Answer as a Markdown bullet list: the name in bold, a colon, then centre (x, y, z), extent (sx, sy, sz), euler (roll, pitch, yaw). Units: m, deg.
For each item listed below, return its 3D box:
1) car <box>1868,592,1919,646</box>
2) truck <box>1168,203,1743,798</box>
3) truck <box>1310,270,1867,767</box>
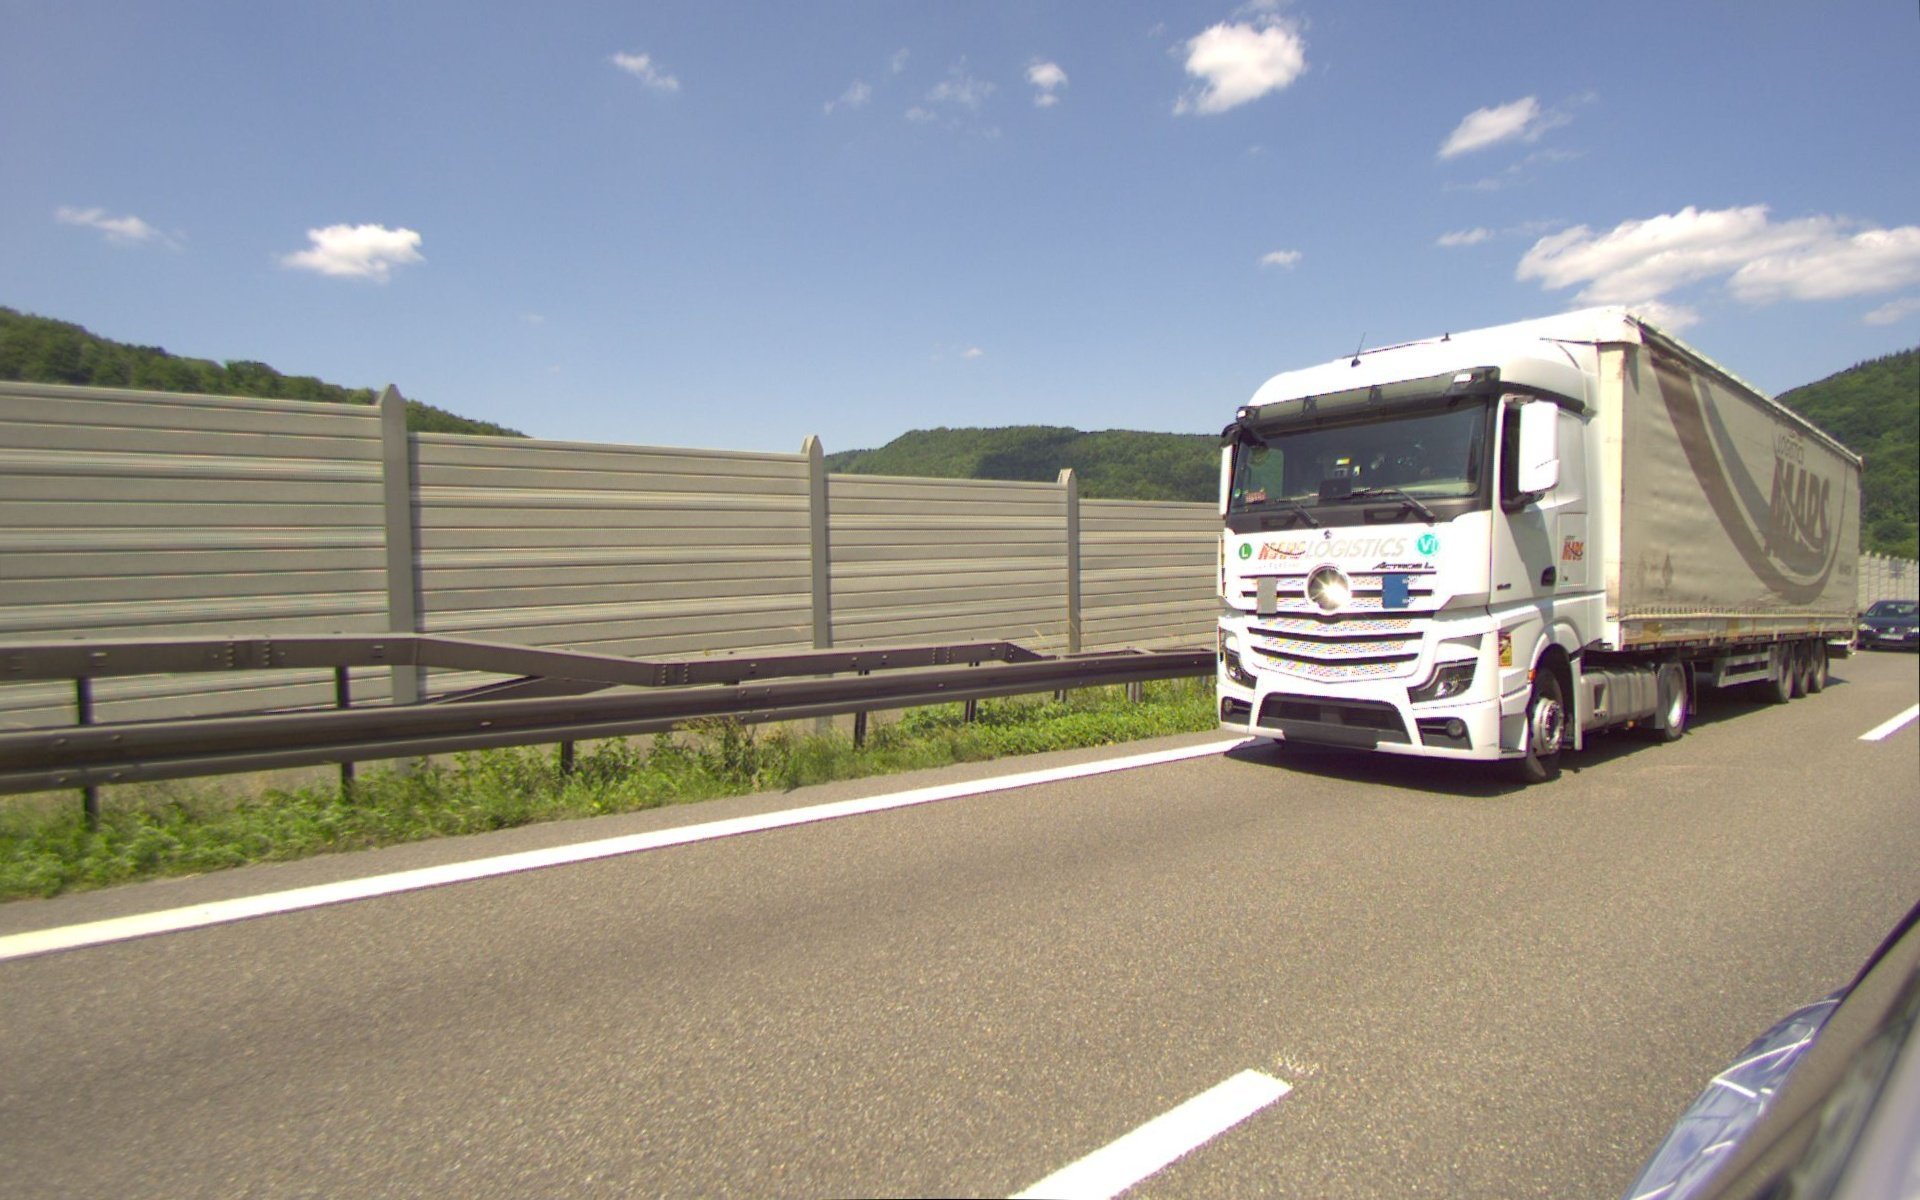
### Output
- **car**: centre (27.309, 0.521, 28.844), extent (3.414, 1.430, 1.661), euler (-1, 3, -41)
- **truck**: centre (5.313, -0.748, 10.206), extent (6.704, 4.089, 2.762), euler (-1, 1, -40)
- **truck**: centre (9.149, -0.784, 13.515), extent (11.836, 4.199, 2.860), euler (-1, 2, -41)
